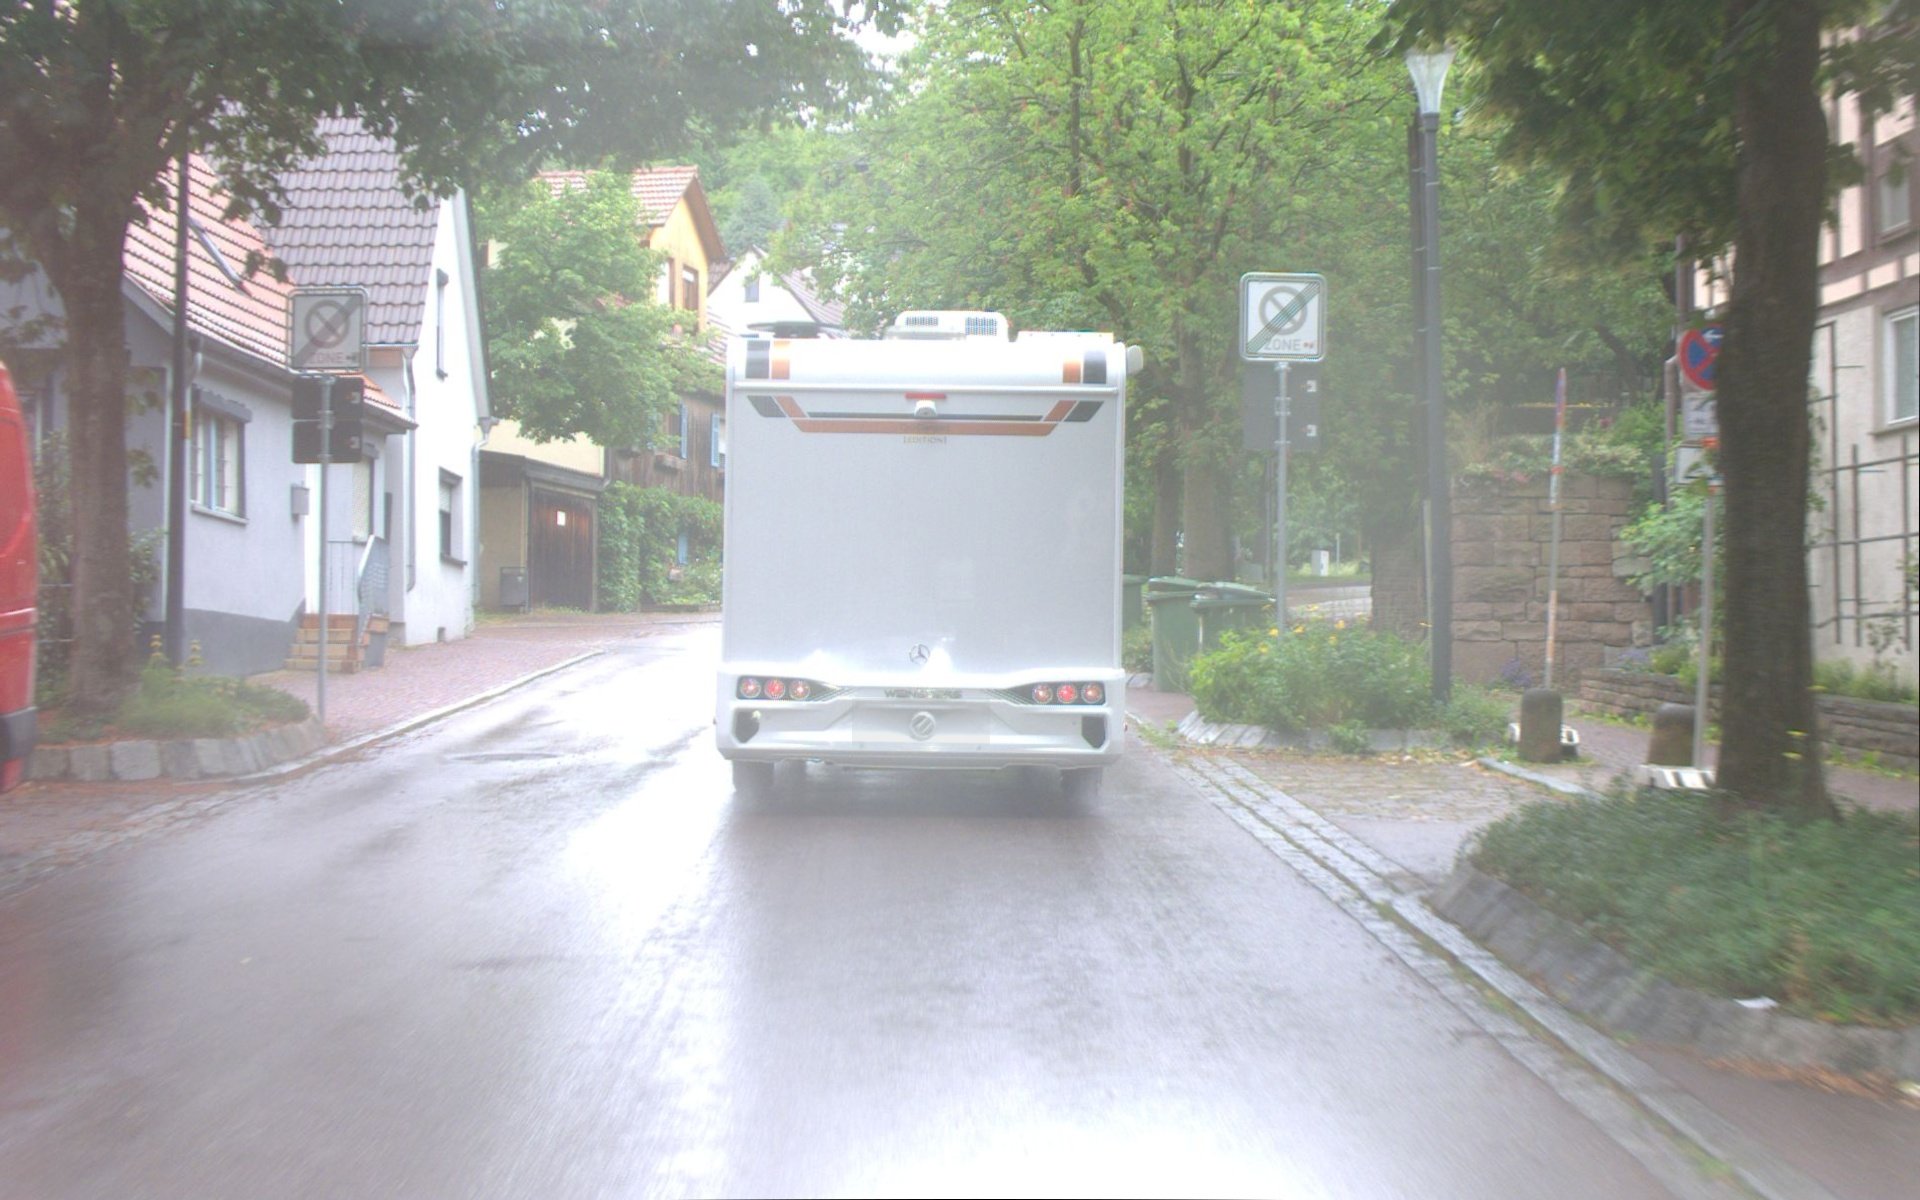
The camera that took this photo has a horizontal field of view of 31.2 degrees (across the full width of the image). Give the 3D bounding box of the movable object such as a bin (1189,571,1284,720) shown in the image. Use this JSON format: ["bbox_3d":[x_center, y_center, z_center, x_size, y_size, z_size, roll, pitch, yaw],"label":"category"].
[{"bbox_3d":[2.297,0.371,28.637,0.721,1.208,0.727,1,1,0],"label":"movable object such as a bin"}]

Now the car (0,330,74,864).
[{"bbox_3d":[-5.653,0.022,14.242,2.303,2.474,5.785,1,1,2],"label":"car"}]

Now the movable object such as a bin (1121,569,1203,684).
[{"bbox_3d":[2.023,0.260,34.491,0.723,1.139,0.703,1,1,-3],"label":"movable object such as a bin"}]

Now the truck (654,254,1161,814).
[{"bbox_3d":[-0.334,-0.439,21.594,2.694,2.975,6.237,1,2,-1],"label":"truck"}]

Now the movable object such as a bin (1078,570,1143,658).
[{"bbox_3d":[1.954,0.177,44.765,0.769,1.103,0.884,-1,1,0],"label":"movable object such as a bin"}]
